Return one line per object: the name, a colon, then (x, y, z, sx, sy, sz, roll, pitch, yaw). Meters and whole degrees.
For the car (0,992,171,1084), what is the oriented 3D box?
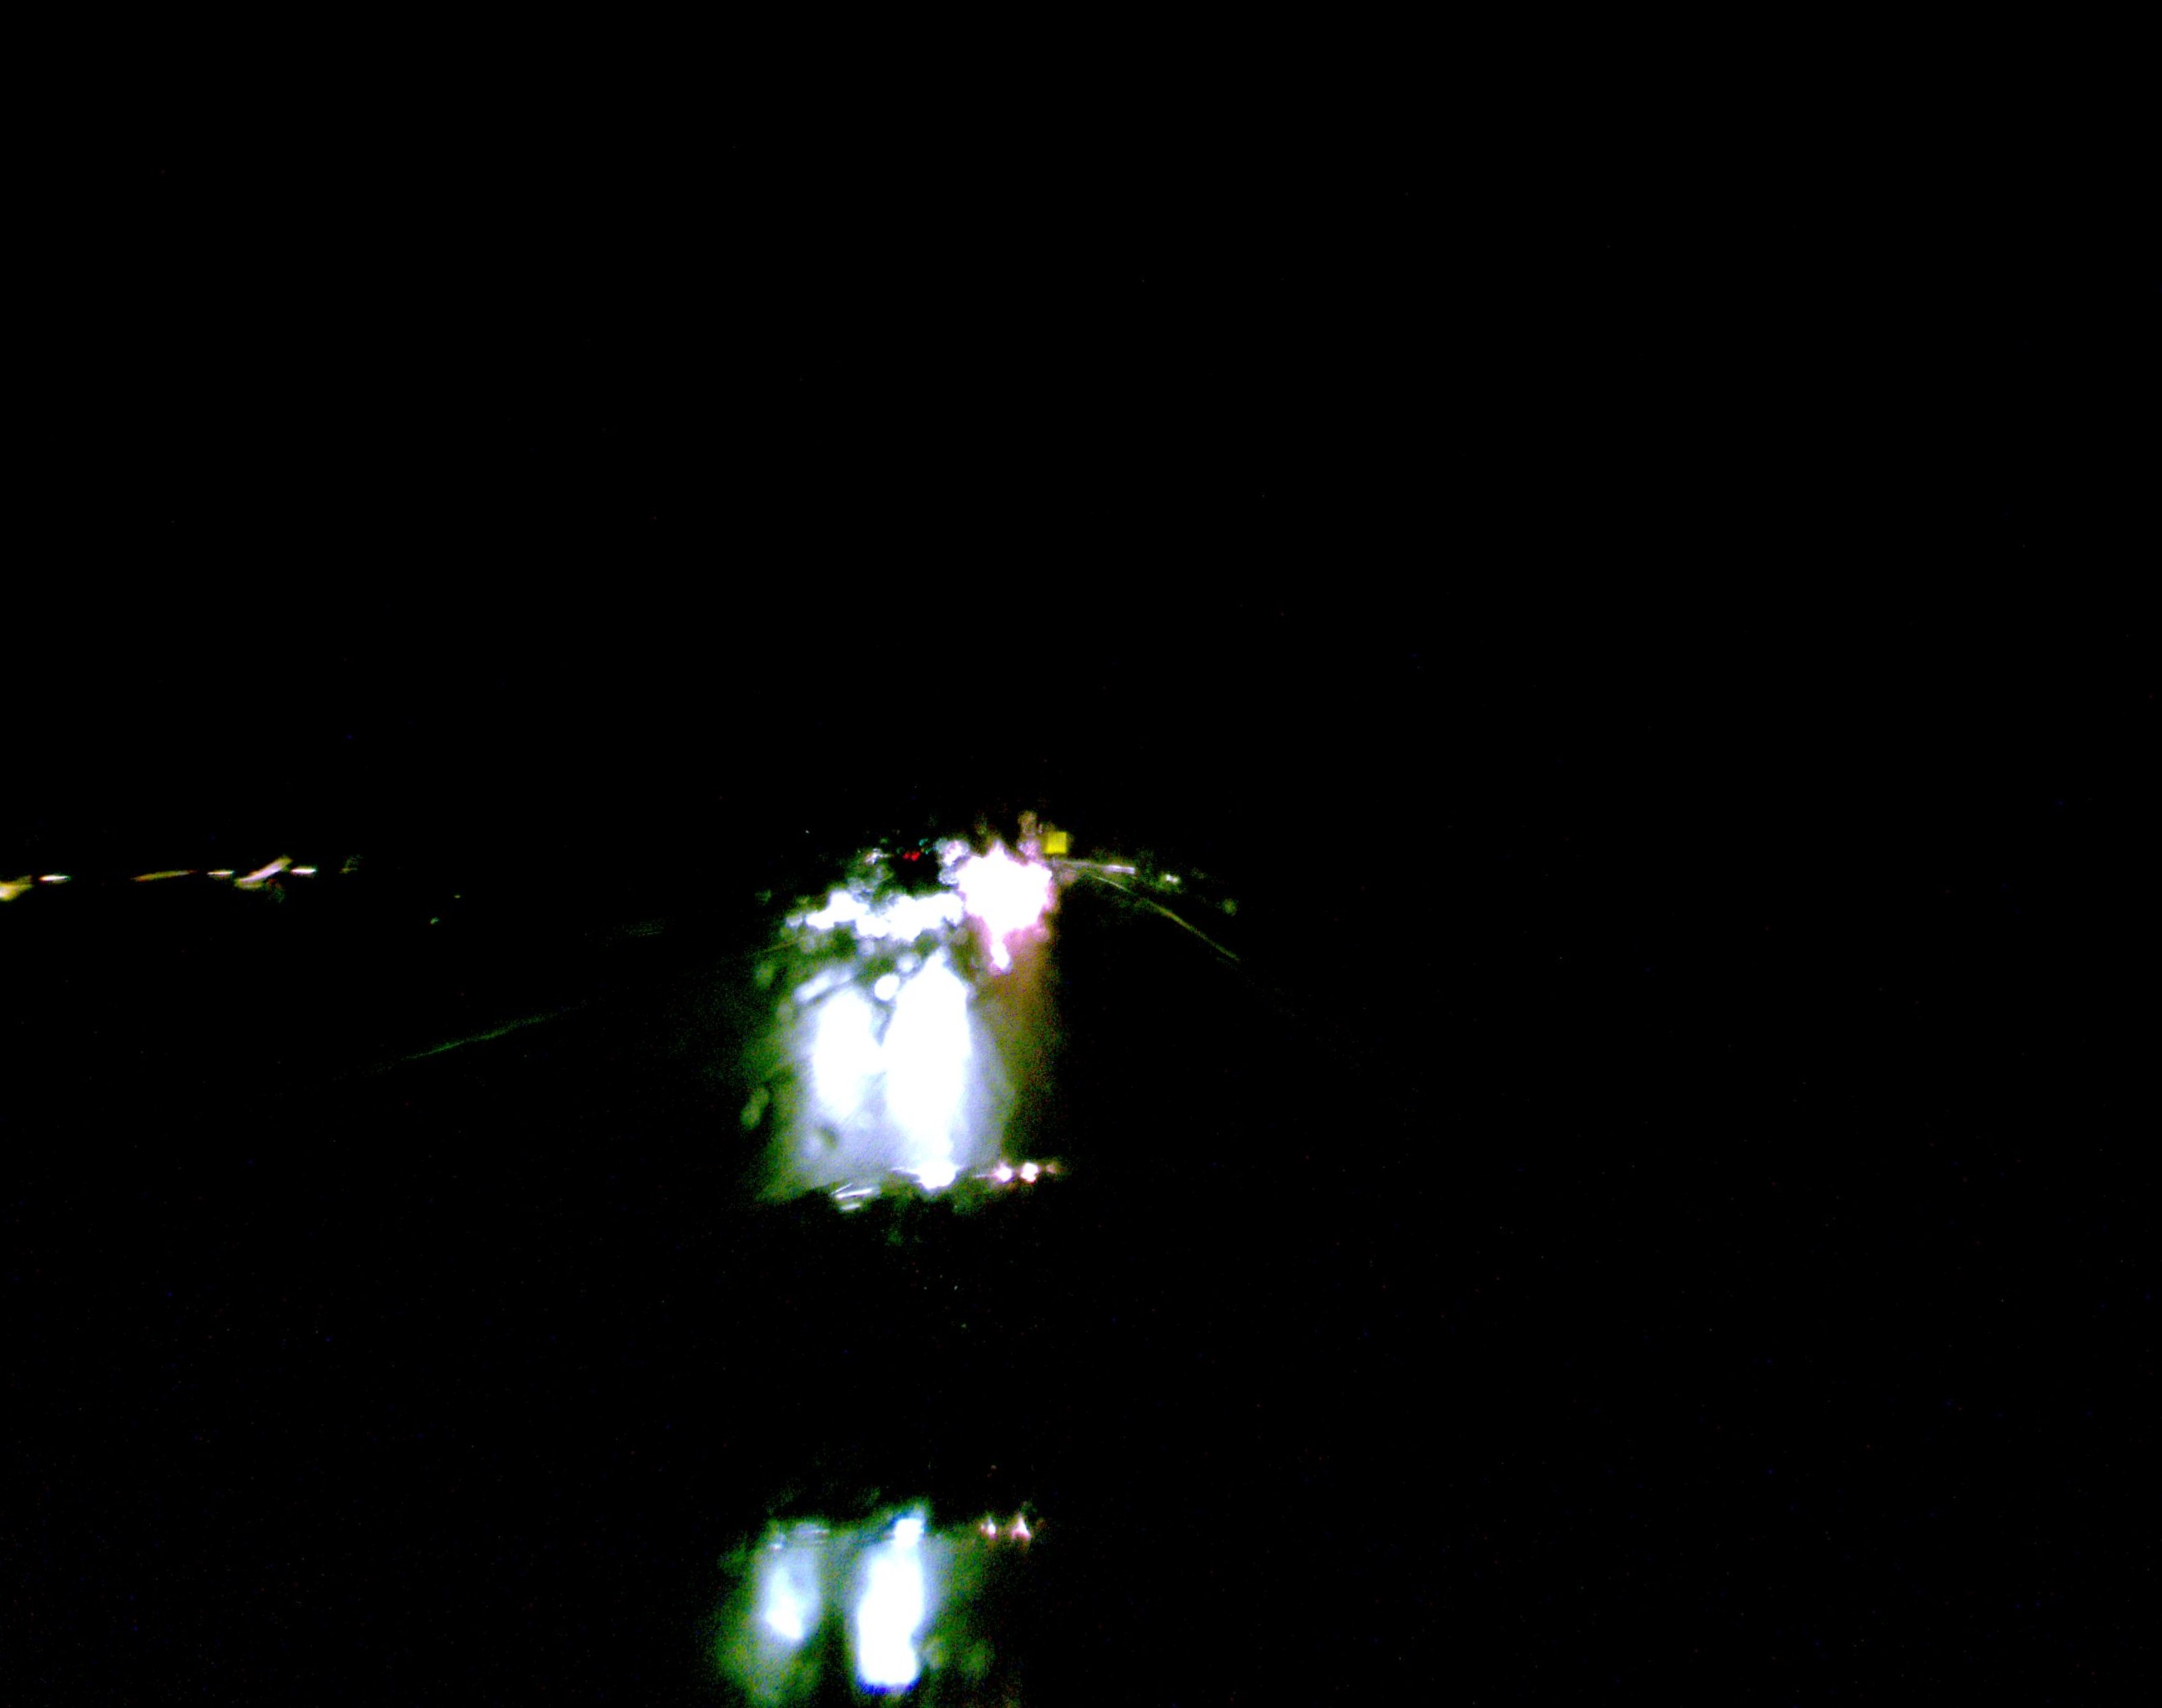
car: (-27.206, 4.806, 21.448, 1.804, 1.570, 4.287, -1, 0, -4)

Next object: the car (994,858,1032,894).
car: (-3.679, 1.156, 44.374, 1.784, 1.622, 4.374, -1, 3, -2)

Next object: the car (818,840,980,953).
car: (-3.256, 0.708, 15.564, 1.987, 1.806, 4.596, -1, 0, 0)
